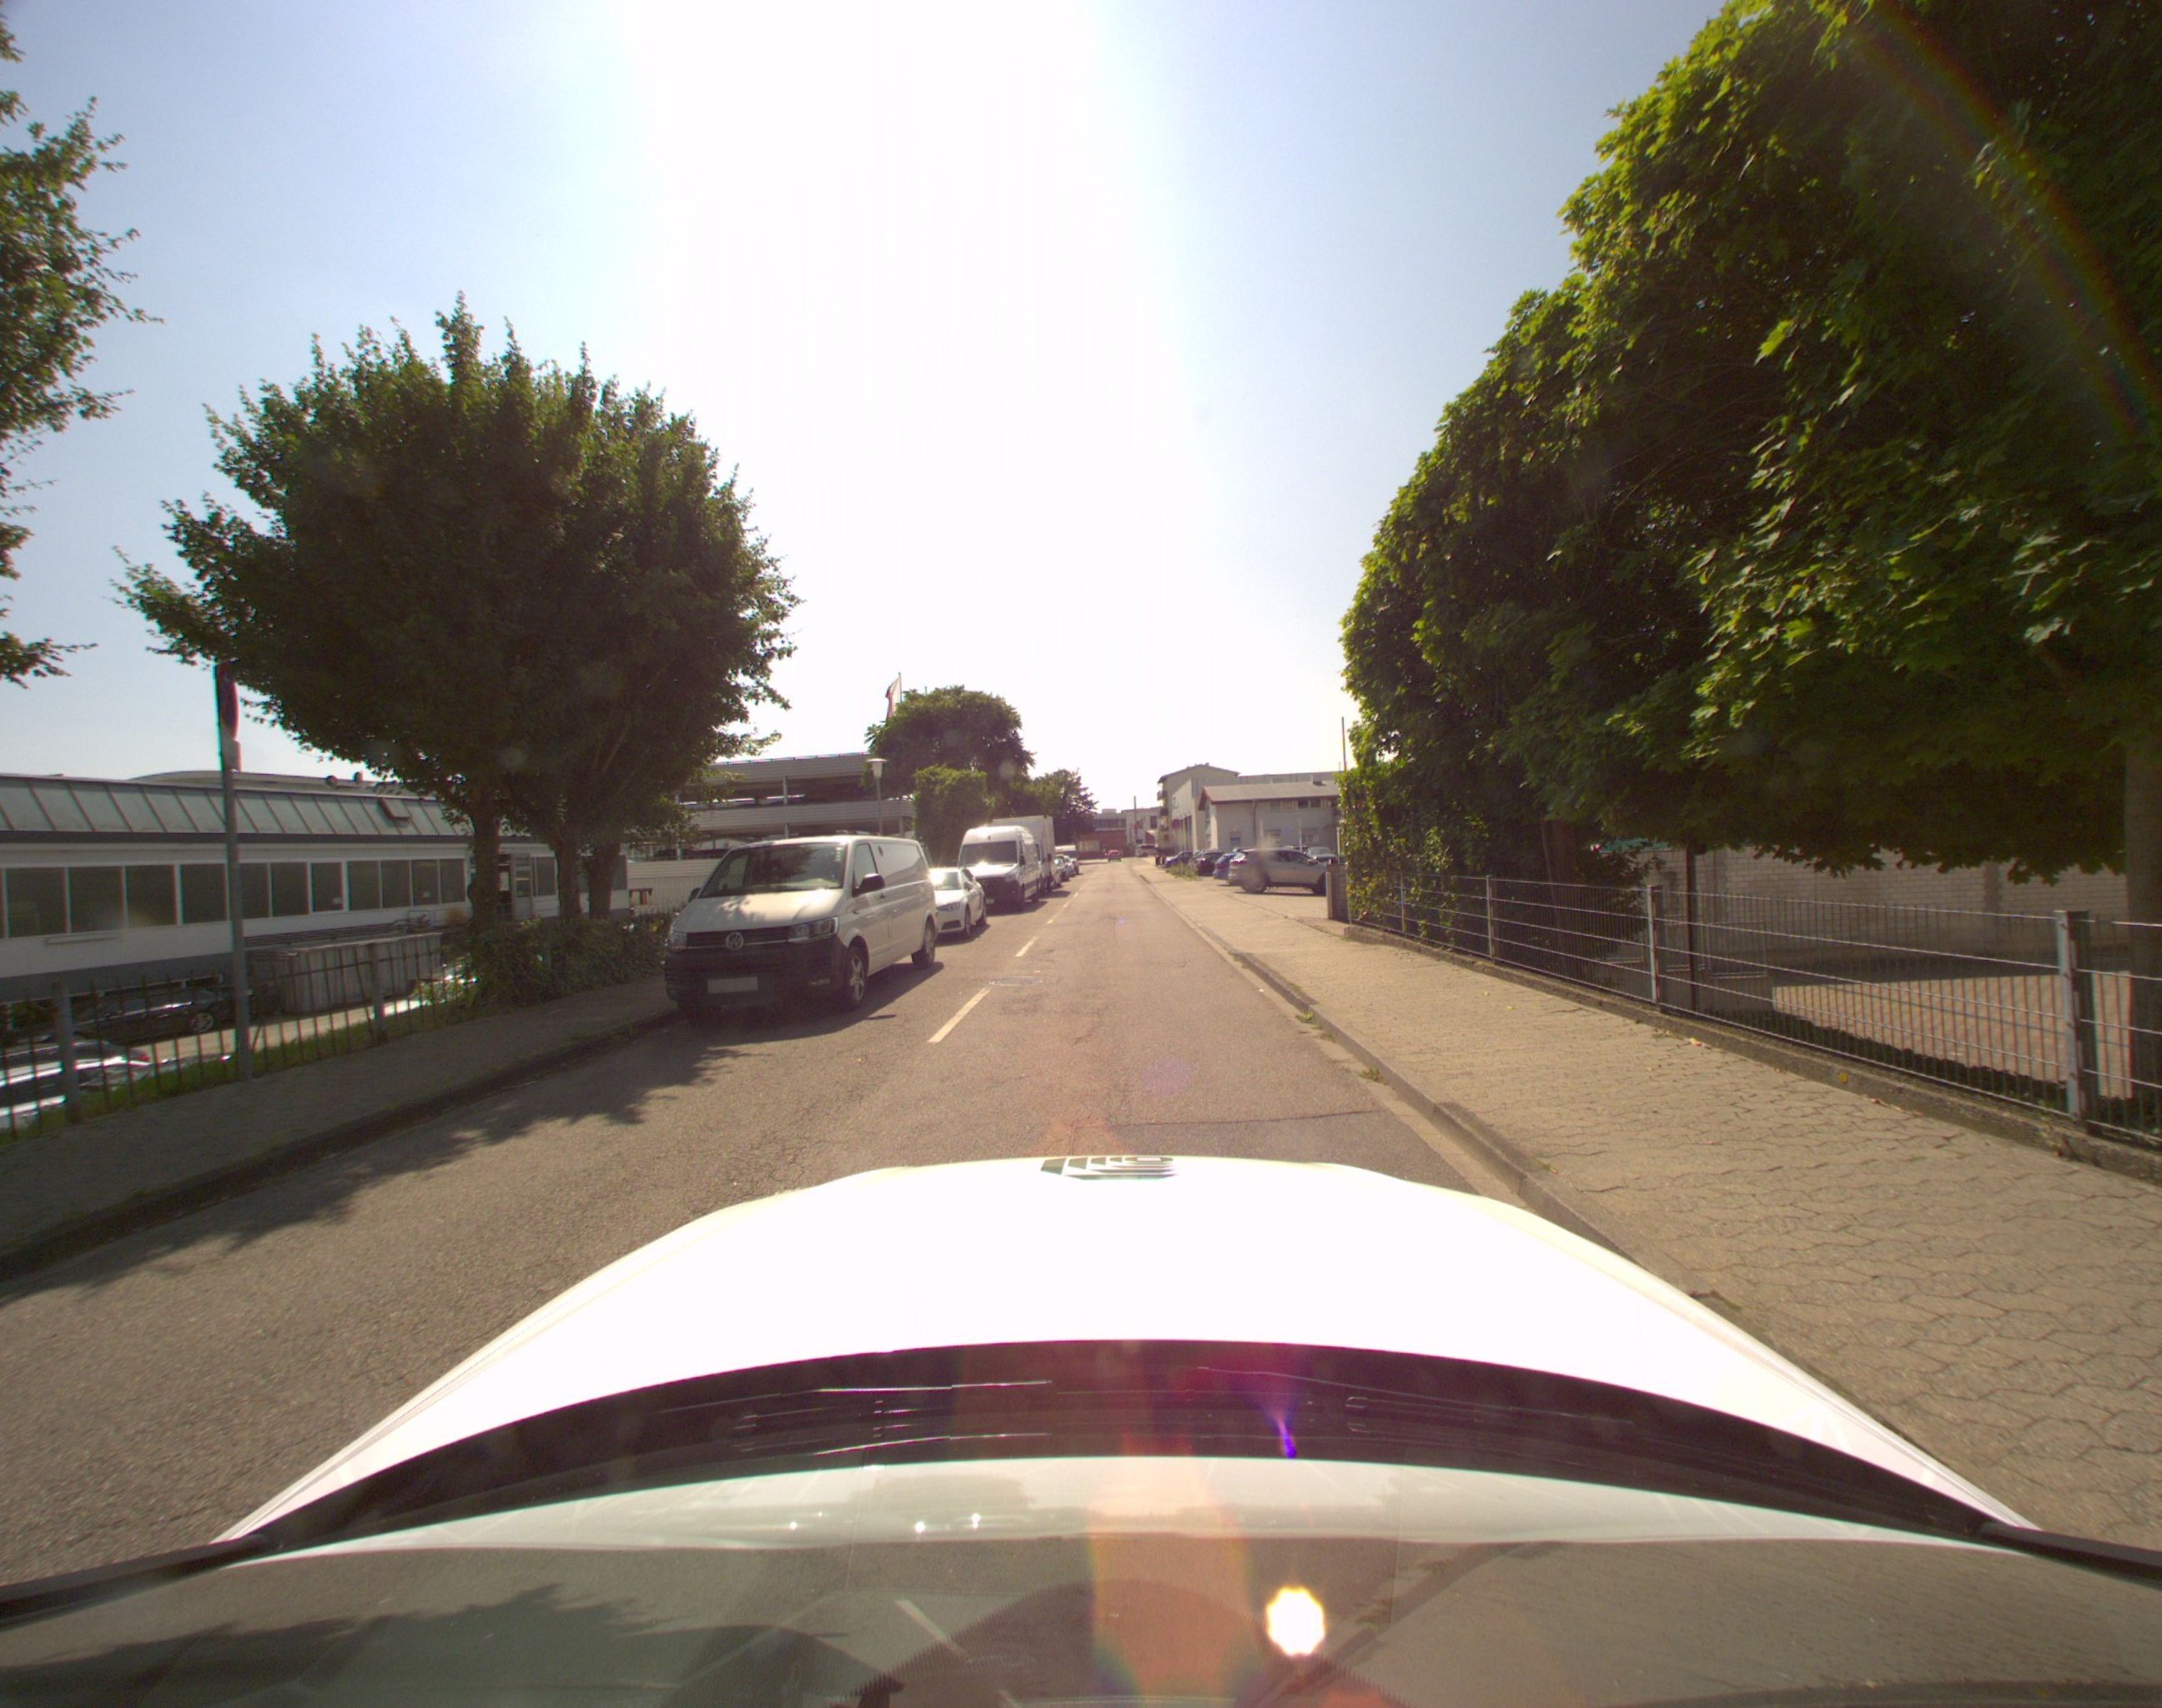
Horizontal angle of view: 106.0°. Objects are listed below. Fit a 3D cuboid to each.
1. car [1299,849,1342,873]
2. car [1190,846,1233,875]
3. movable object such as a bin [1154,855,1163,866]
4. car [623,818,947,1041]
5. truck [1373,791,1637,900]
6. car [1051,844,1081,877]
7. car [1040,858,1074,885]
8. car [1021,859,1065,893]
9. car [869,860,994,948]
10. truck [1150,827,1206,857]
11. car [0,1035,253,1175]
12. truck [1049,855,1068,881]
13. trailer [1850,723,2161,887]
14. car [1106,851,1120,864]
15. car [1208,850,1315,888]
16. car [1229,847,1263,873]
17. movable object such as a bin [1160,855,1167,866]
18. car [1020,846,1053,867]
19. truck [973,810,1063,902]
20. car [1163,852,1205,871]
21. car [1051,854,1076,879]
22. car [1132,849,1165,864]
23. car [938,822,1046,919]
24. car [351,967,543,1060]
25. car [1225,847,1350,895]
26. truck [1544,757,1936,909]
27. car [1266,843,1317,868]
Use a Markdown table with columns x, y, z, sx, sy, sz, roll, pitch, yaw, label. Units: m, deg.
| x | y | z | sx | sy | sz | roll | pitch | yaw | label |
| --- | --- | --- | --- | --- | --- | --- | --- | --- | --- |
| 14.196 | 0.382 | 48.526 | 1.634 | 1.324 | 4.106 | -3 | 0 | 5 | car |
| 7.812 | 0.379 | 49.258 | 1.851 | 1.567 | 4.953 | -3 | 0 | 2 | car |
| 7.087 | 0.585 | 74.421 | 0.562 | 0.946 | 0.561 | -3 | 0 | 35 | movable object such as a bin |
| -3.292 | 0.750 | 10.409 | 1.964 | 2.013 | 5.059 | -4 | -1 | 2 | car |
| 13.942 | -0.280 | 27.184 | 7.488 | 3.423 | 2.528 | 0 | 0 | 2 | truck |
| -1.147 | 0.502 | 65.312 | 1.999 | 2.366 | 5.229 | -5 | 0 | 0 | car |
| -1.472 | 1.043 | 50.738 | 1.698 | 1.463 | 4.117 | -4 | 0 | 3 | car |
| -1.848 | 1.050 | 40.804 | 1.734 | 1.521 | 4.312 | -3 | 0 | 2 | car |
| -3.080 | 0.967 | 17.684 | 1.708 | 1.544 | 4.401 | -4 | 0 | 1 | car |
| 13.981 | -1.689 | 117.869 | 7.345 | 3.645 | 2.764 | -6 | 0 | -4 | truck |
| -17.503 | 4.319 | 14.140 | 1.791 | 1.442 | 4.013 | -3 | 0 | 11 | car |
| -1.534 | 0.938 | 56.527 | 1.135 | 1.622 | 3.141 | -5 | 0 | 0 | truck |
| 26.583 | -1.296 | 21.888 | 8.289 | 3.863 | 3.074 | -3 | -1 | 7 | trailer |
| 4.440 | 0.483 | 113.082 | 1.884 | 1.685 | 3.957 | 0 | -1 | 0 | car |
| 7.945 | 0.657 | 36.133 | 4.337 | 1.441 | 1.893 | -3 | 0 | 1 | car |
| 10.532 | 0.360 | 52.217 | 1.751 | 1.595 | 3.625 | 0 | 1 | 5 | car |
| 7.596 | 0.586 | 74.818 | 0.510 | 0.946 | 0.489 | -3 | 0 | 13 | movable object such as a bin |
| -5.898 | 0.313 | 108.224 | 4.072 | 2.513 | 1.777 | -3 | 0 | 0 | car |
| -2.468 | 0.104 | 34.495 | 2.674 | 3.366 | 7.135 | -3 | -1 | 3 | truck |
| 8.397 | 0.588 | 66.778 | 3.240 | 1.398 | 1.674 | -3 | 0 | 2 | car |
| -1.310 | 0.915 | 60.134 | 1.700 | 1.624 | 3.970 | -4 | 0 | -2 | car |
| 10.481 | 0.433 | 126.195 | 4.666 | 1.958 | 1.905 | -4 | -2 | -17 | car |
| -2.654 | 0.501 | 26.419 | 2.159 | 2.596 | 6.926 | -4 | -1 | 3 | car |
| -18.049 | 4.487 | 23.516 | 1.911 | 1.851 | 4.419 | -3 | -2 | 2 | car |
| 7.561 | 0.607 | 30.083 | 4.185 | 1.682 | 1.767 | 0 | 0 | 1 | car |
| 18.012 | -0.520 | 22.788 | 8.237 | 3.611 | 2.957 | -2 | 0 | 4 | truck |
| 14.098 | 0.139 | 54.694 | 1.759 | 1.496 | 4.137 | -4 | 0 | -9 | car |
